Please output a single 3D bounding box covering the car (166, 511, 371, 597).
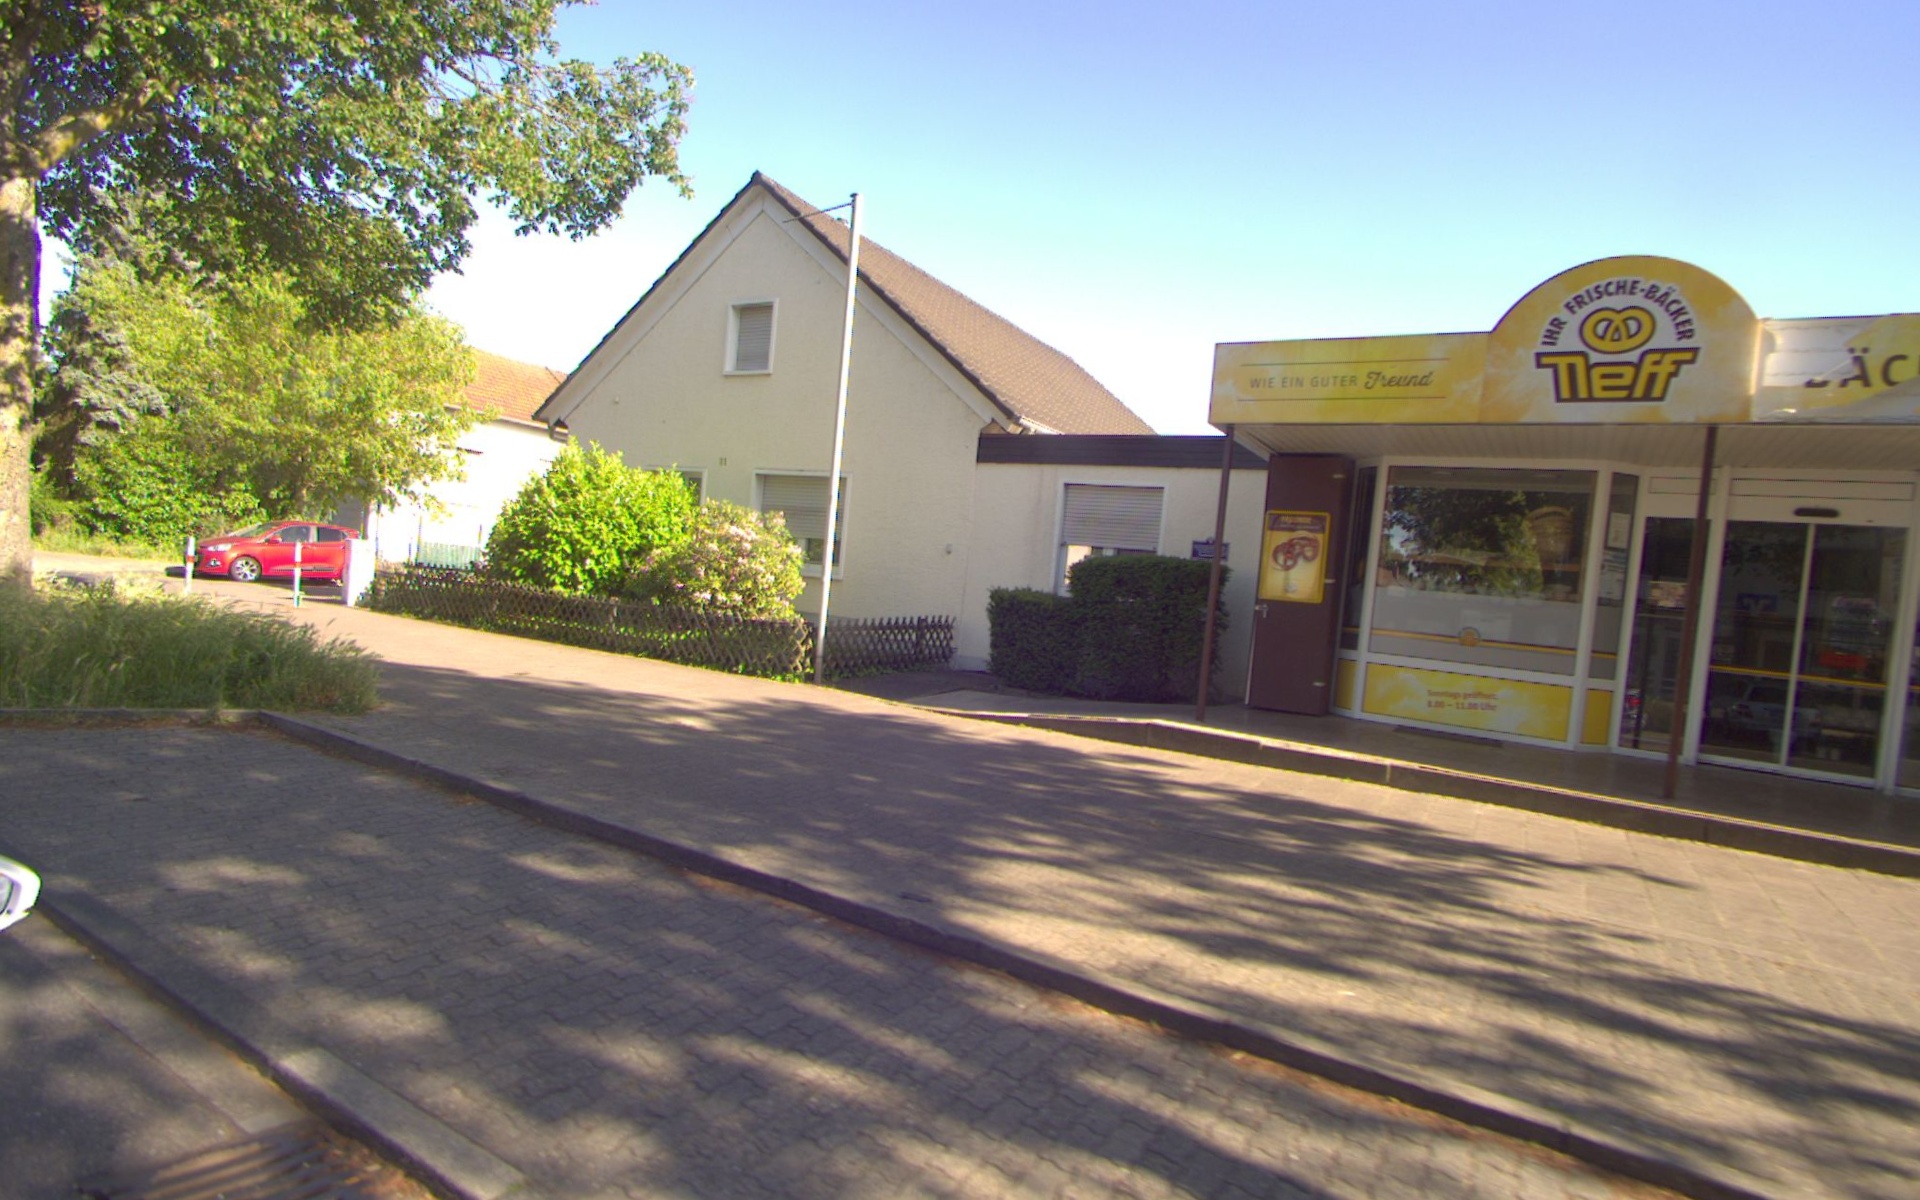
[{"bbox_3d":[-16.121,-1.029,23.629,1.611,1.529,3.547,7,0,27],"label":"car"}]
